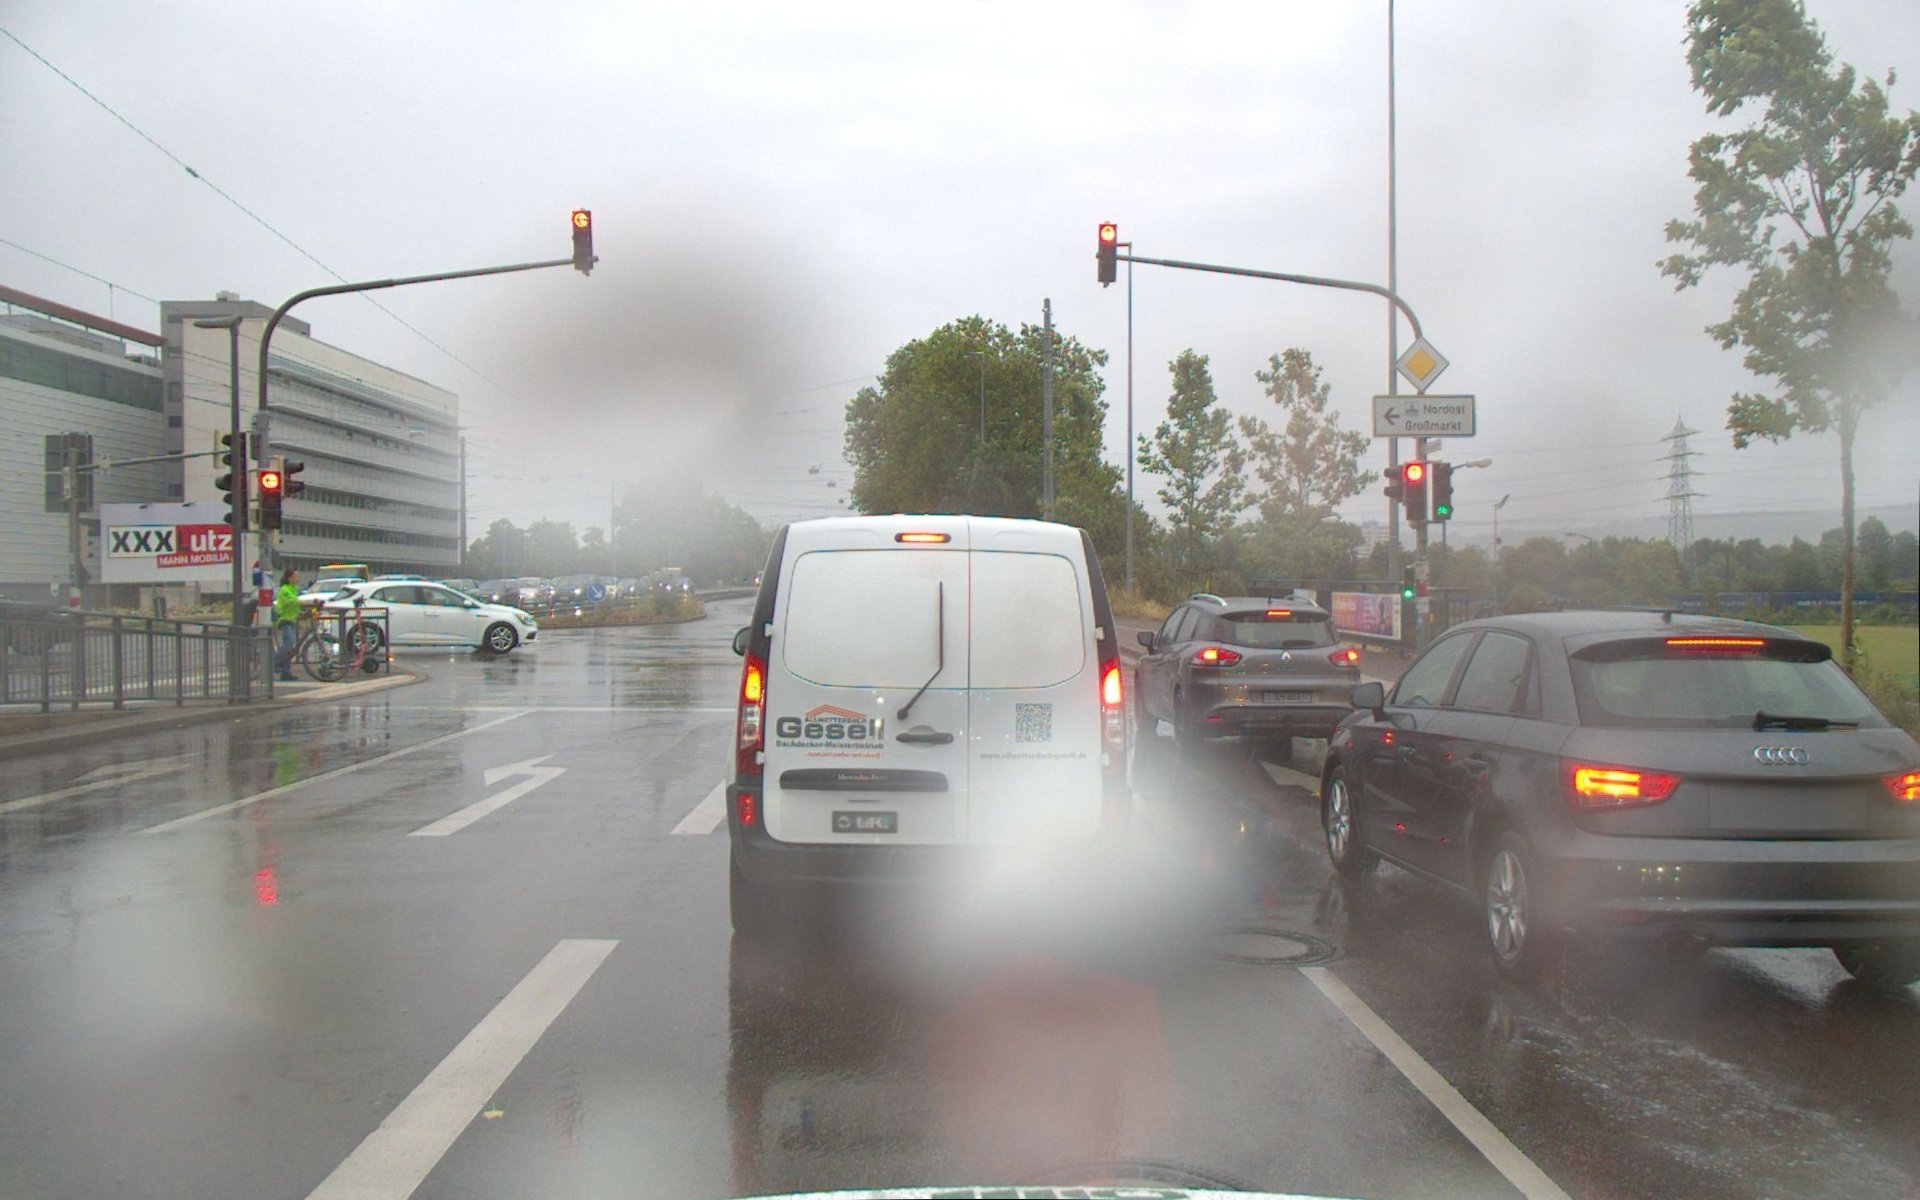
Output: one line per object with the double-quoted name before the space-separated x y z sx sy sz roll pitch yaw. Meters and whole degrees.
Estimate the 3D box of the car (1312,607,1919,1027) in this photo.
"car" 2.875 0.763 7.618 1.565 1.390 3.629 -1 1 -3

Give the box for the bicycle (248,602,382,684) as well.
"bicycle" -9.426 0.621 24.218 1.745 1.157 0.512 1 0 -43

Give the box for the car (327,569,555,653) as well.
"car" -10.646 0.237 33.973 4.208 1.528 1.806 3 -1 -27

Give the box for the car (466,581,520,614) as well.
"car" -21.982 -0.104 77.961 1.528 1.451 3.568 2 -1 -1

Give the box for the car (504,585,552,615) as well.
"car" -22.022 0.004 84.448 1.528 1.451 3.568 2 -1 -1

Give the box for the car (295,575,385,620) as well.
"car" -21.591 -0.055 57.745 1.676 1.451 3.808 2 -1 -1

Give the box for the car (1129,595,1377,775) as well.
"car" 2.768 0.743 16.446 1.650 1.534 3.919 1 0 -2

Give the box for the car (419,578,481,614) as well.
"car" -21.822 -0.158 70.883 1.528 1.451 3.568 2 -1 -1

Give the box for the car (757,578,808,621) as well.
"car" -7.511 0.016 70.291 1.909 1.691 4.460 2 -1 -4

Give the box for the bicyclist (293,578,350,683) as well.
"bicyclist" -9.369 0.442 24.271 0.600 1.517 0.591 1 0 -41

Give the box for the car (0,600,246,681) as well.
"car" -17.747 0.867 35.209 4.422 1.528 1.706 3 -1 -16

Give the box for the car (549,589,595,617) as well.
"car" -21.491 0.194 91.768 1.676 1.451 3.808 2 -1 -1

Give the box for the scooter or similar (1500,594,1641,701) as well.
"scooter or similar" 7.628 0.553 20.837 0.676 1.232 3.020 0 0 0

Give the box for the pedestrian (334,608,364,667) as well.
"pedestrian" -9.705 0.586 26.266 0.309 0.913 0.380 2 0 -3

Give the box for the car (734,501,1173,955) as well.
"car" -0.167 0.473 8.626 1.719 1.780 4.166 1 1 -4
